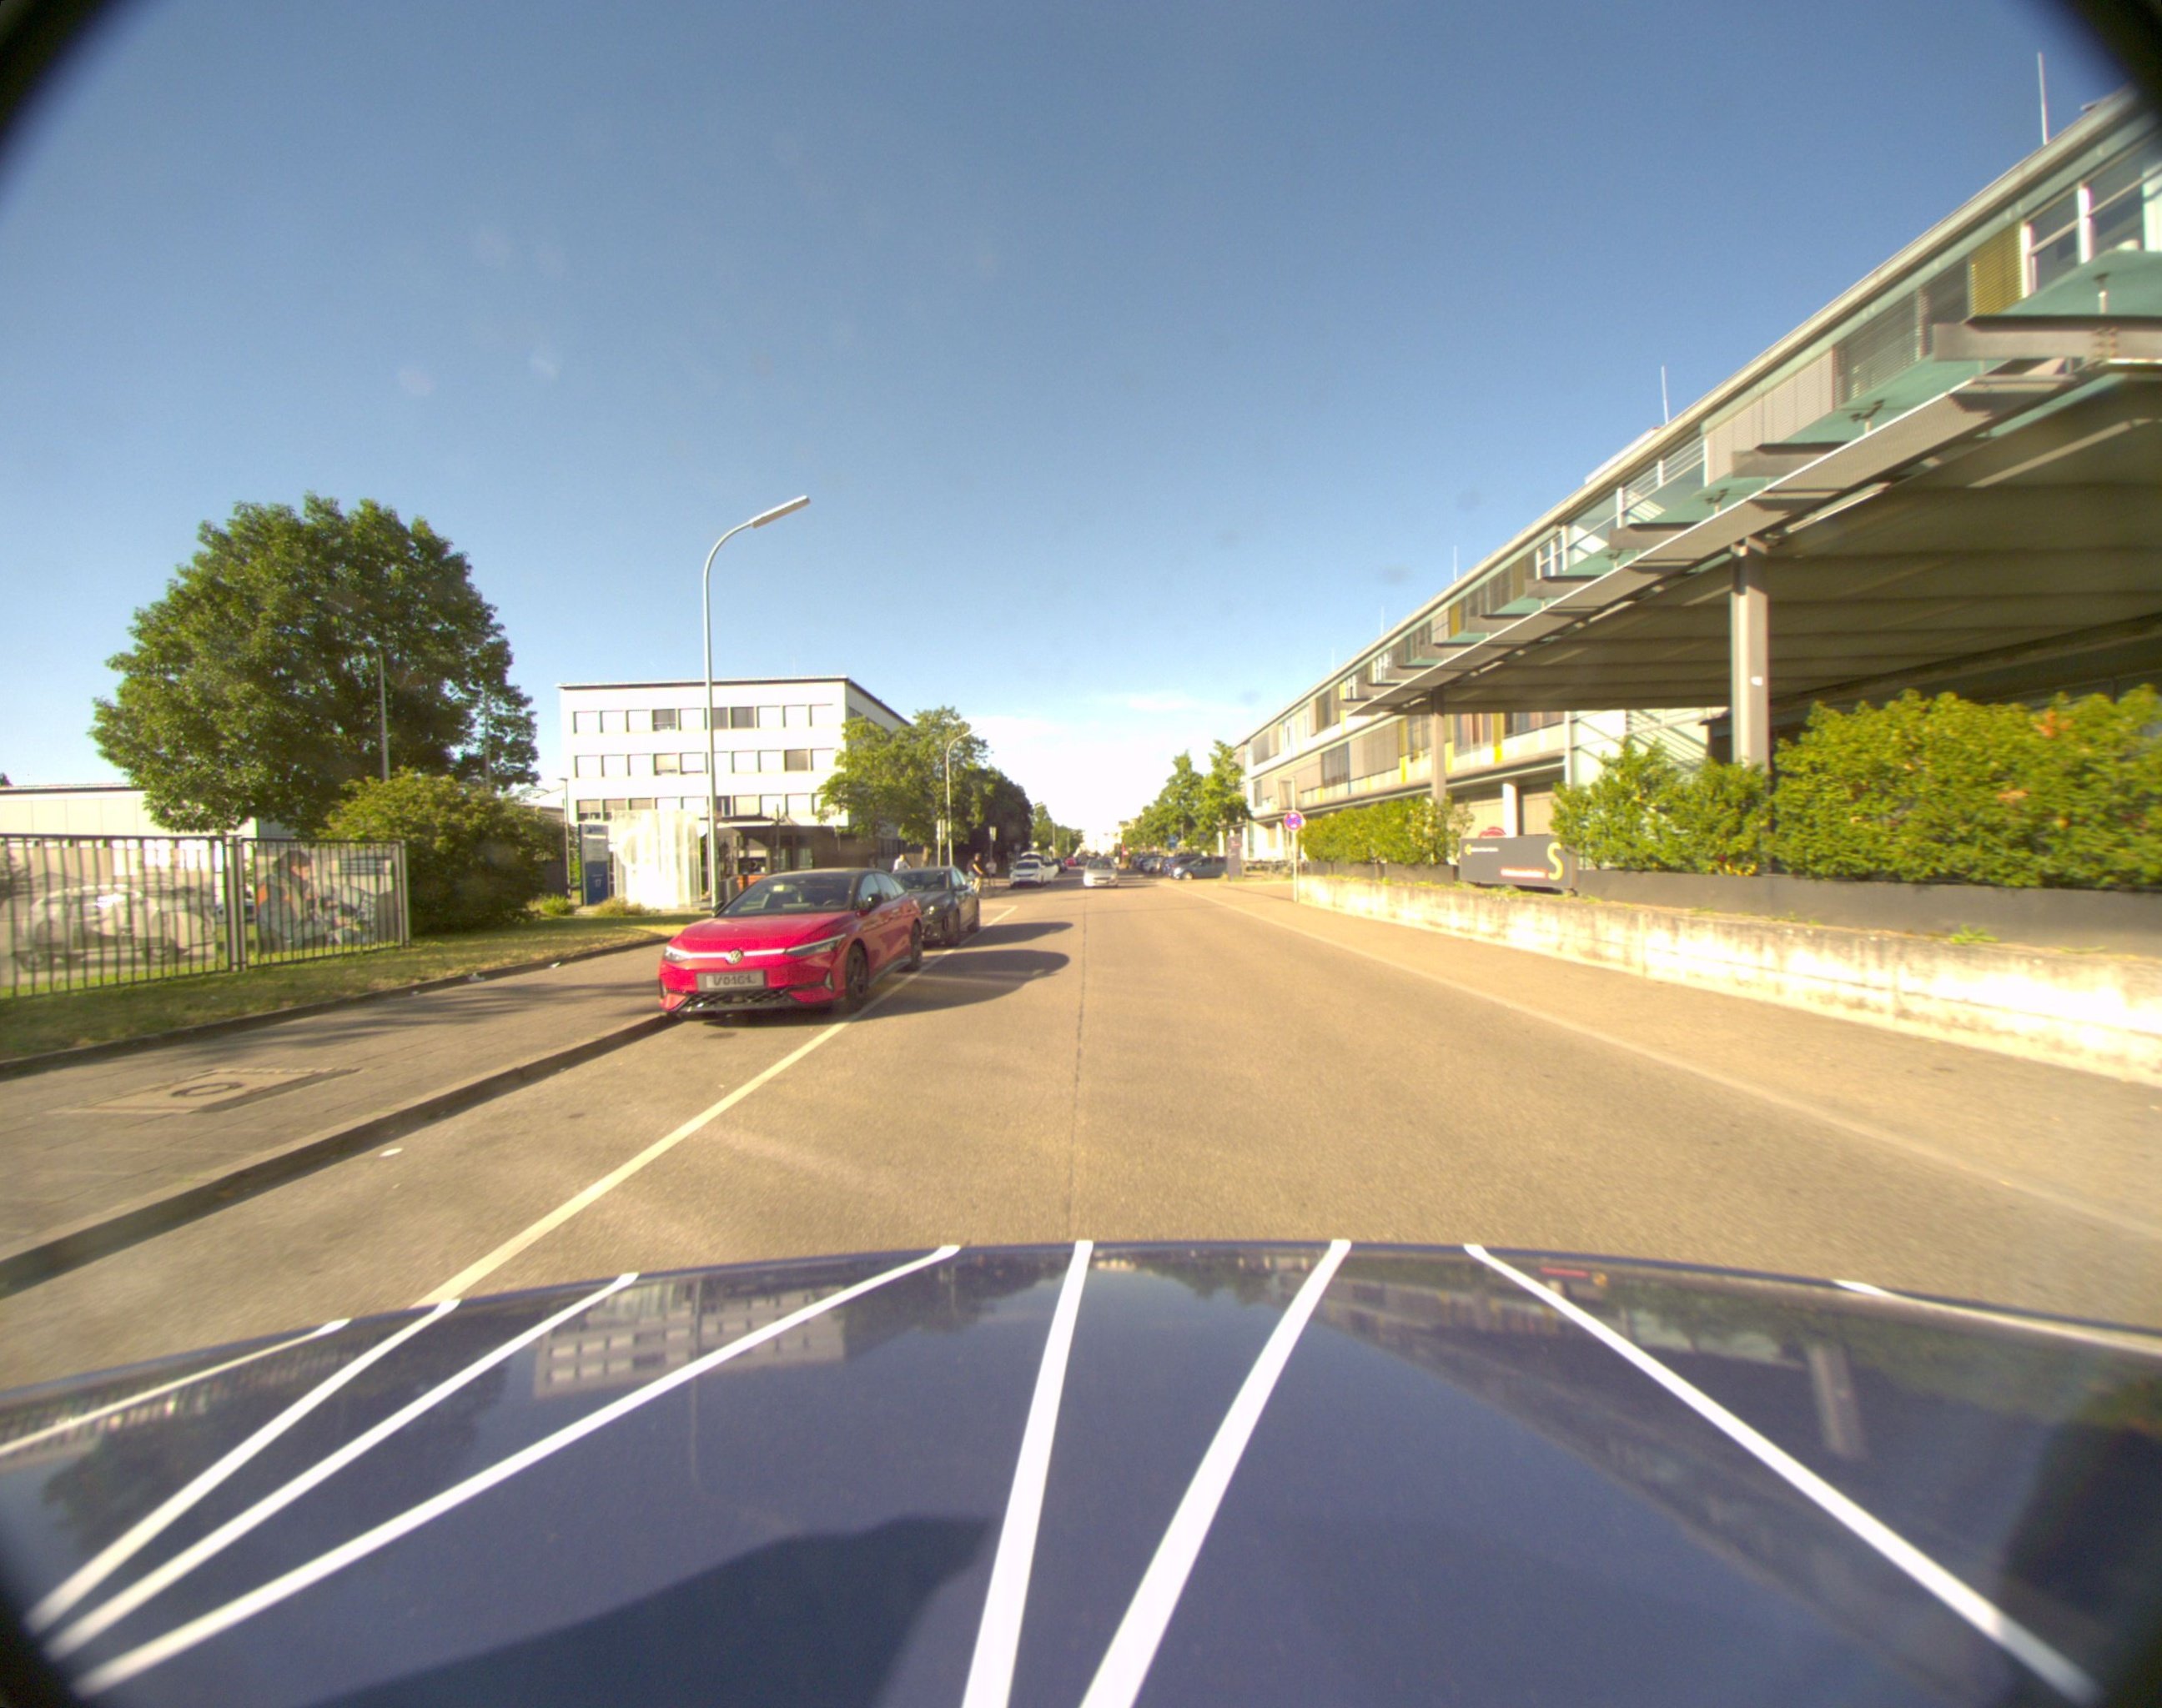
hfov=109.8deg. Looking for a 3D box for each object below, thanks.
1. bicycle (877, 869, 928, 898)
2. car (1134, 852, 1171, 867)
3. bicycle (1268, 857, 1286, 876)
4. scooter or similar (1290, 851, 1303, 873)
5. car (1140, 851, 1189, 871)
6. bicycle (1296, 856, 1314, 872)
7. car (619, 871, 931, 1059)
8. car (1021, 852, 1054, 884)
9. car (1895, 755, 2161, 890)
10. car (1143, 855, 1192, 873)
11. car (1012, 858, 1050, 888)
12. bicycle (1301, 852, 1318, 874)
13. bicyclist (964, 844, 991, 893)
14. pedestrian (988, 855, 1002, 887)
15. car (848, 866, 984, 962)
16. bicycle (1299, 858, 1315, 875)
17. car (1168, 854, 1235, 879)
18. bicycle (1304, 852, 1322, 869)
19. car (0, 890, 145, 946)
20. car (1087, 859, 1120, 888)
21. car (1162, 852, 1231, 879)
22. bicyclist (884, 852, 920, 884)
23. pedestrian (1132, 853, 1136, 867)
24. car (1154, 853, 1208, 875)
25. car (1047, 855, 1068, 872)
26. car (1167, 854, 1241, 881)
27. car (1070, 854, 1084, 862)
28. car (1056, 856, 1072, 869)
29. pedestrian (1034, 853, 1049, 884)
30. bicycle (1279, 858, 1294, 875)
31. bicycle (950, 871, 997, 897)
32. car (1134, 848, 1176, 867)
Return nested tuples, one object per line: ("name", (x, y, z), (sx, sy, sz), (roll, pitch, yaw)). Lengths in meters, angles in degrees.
("bicycle", (-7.087, 1.156, 30.198), (1.899, 1.136, 0.668), (0, 0, 16))
("car", (8.651, 0.661, 92.477), (4.357, 1.637, 2.001), (-3, 0, 6))
("bicycle", (12.228, 0.768, 47.377), (0.637, 1.136, 1.779), (-1, 0, 0))
("scooter or similar", (12.384, 0.450, 43.678), (0.471, 1.266, 1.205), (-1, 0, 2))
("car", (8.092, 0.643, 73.892), (4.360, 1.618, 1.999), (-3, 1, -3))
("bicycle", (15.144, 0.668, 51.460), (0.648, 1.089, 1.855), (-1, 0, 0))
("car", (-3.241, 1.058, 9.247), (1.813, 1.501, 4.722), (-3, 0, 0))
("car", (-2.727, 0.832, 48.419), (1.869, 1.859, 5.021), (-3, 0, -2))
("car", (16.037, -0.452, 11.726), (1.924, 1.880, 4.711), (-1, 0, 0))
("car", (7.780, 0.895, 68.323), (4.101, 1.414, 1.823), (-3, 1, -1))
("car", (-2.751, 1.011, 42.549), (1.668, 1.505, 4.114), (-3, 0, 1))
("bicycle", (13.254, 0.538, 44.129), (0.353, 1.040, 1.653), (-1, -8, -4))
("bicyclist", (-4.347, 0.606, 31.925), (1.052, 2.001, 0.959), (0, 0, -3))
("pedestrian", (-4.656, 0.926, 41.105), (0.693, 1.718, 0.775), (0, 1, 0))
("car", (-3.073, 1.051, 15.051), (1.705, 1.478, 4.215), (-3, 0, 0))
("bicycle", (13.799, 0.737, 46.382), (0.448, 1.009, 1.779), (-1, 0, 0))
("car", (7.680, 0.787, 48.683), (3.997, 1.429, 1.731), (-2, 0, -2))
("bicycle", (16.421, 0.467, 53.826), (0.648, 1.192, 1.855), (-1, 0, 0))
("car", (-27.858, 1.731, 19.914), (4.153, 1.245, 1.878), (-3, 0, -2))
("car", (1.157, 0.961, 38.369), (1.551, 1.389, 3.454), (0, 0, 2))
("car", (7.756, 0.755, 51.295), (4.232, 1.642, 1.960), (-2, 0, -2))
("bicyclist", (-7.151, 0.549, 30.338), (1.098, 1.261, 0.863), (-1, 0, 16))
("pedestrian", (6.910, 0.787, 99.623), (0.369, 1.712, 0.479), (-3, 5, -3))
("car", (8.009, 0.797, 61.090), (3.991, 1.480, 1.823), (-3, 1, -1))
("car", (-2.454, 0.934, 79.957), (1.890, 1.616, 4.294), (-3, 0, 1))
("car", (7.413, 0.792, 46.136), (4.142, 1.458, 1.753), (-2, 0, -1))
("car", (-0.689, 0.701, 127.846), (1.999, 1.382, 3.998), (0, 0, -4))
("car", (-2.177, 1.044, 96.394), (1.824, 1.435, 4.294), (-3, 0, 1))
("pedestrian", (-2.345, 0.855, 45.068), (0.589, 1.735, 0.706), (-3, 1, 19))
("bicycle", (12.772, 0.756, 47.322), (0.428, 1.009, 1.779), (-1, 0, 0))
("bicycle", (-4.499, 1.269, 31.890), (1.884, 1.002, 0.701), (2, -2, -3))
("car", (8.160, 0.363, 83.977), (4.358, 1.852, 2.000), (-3, 0, 2))
